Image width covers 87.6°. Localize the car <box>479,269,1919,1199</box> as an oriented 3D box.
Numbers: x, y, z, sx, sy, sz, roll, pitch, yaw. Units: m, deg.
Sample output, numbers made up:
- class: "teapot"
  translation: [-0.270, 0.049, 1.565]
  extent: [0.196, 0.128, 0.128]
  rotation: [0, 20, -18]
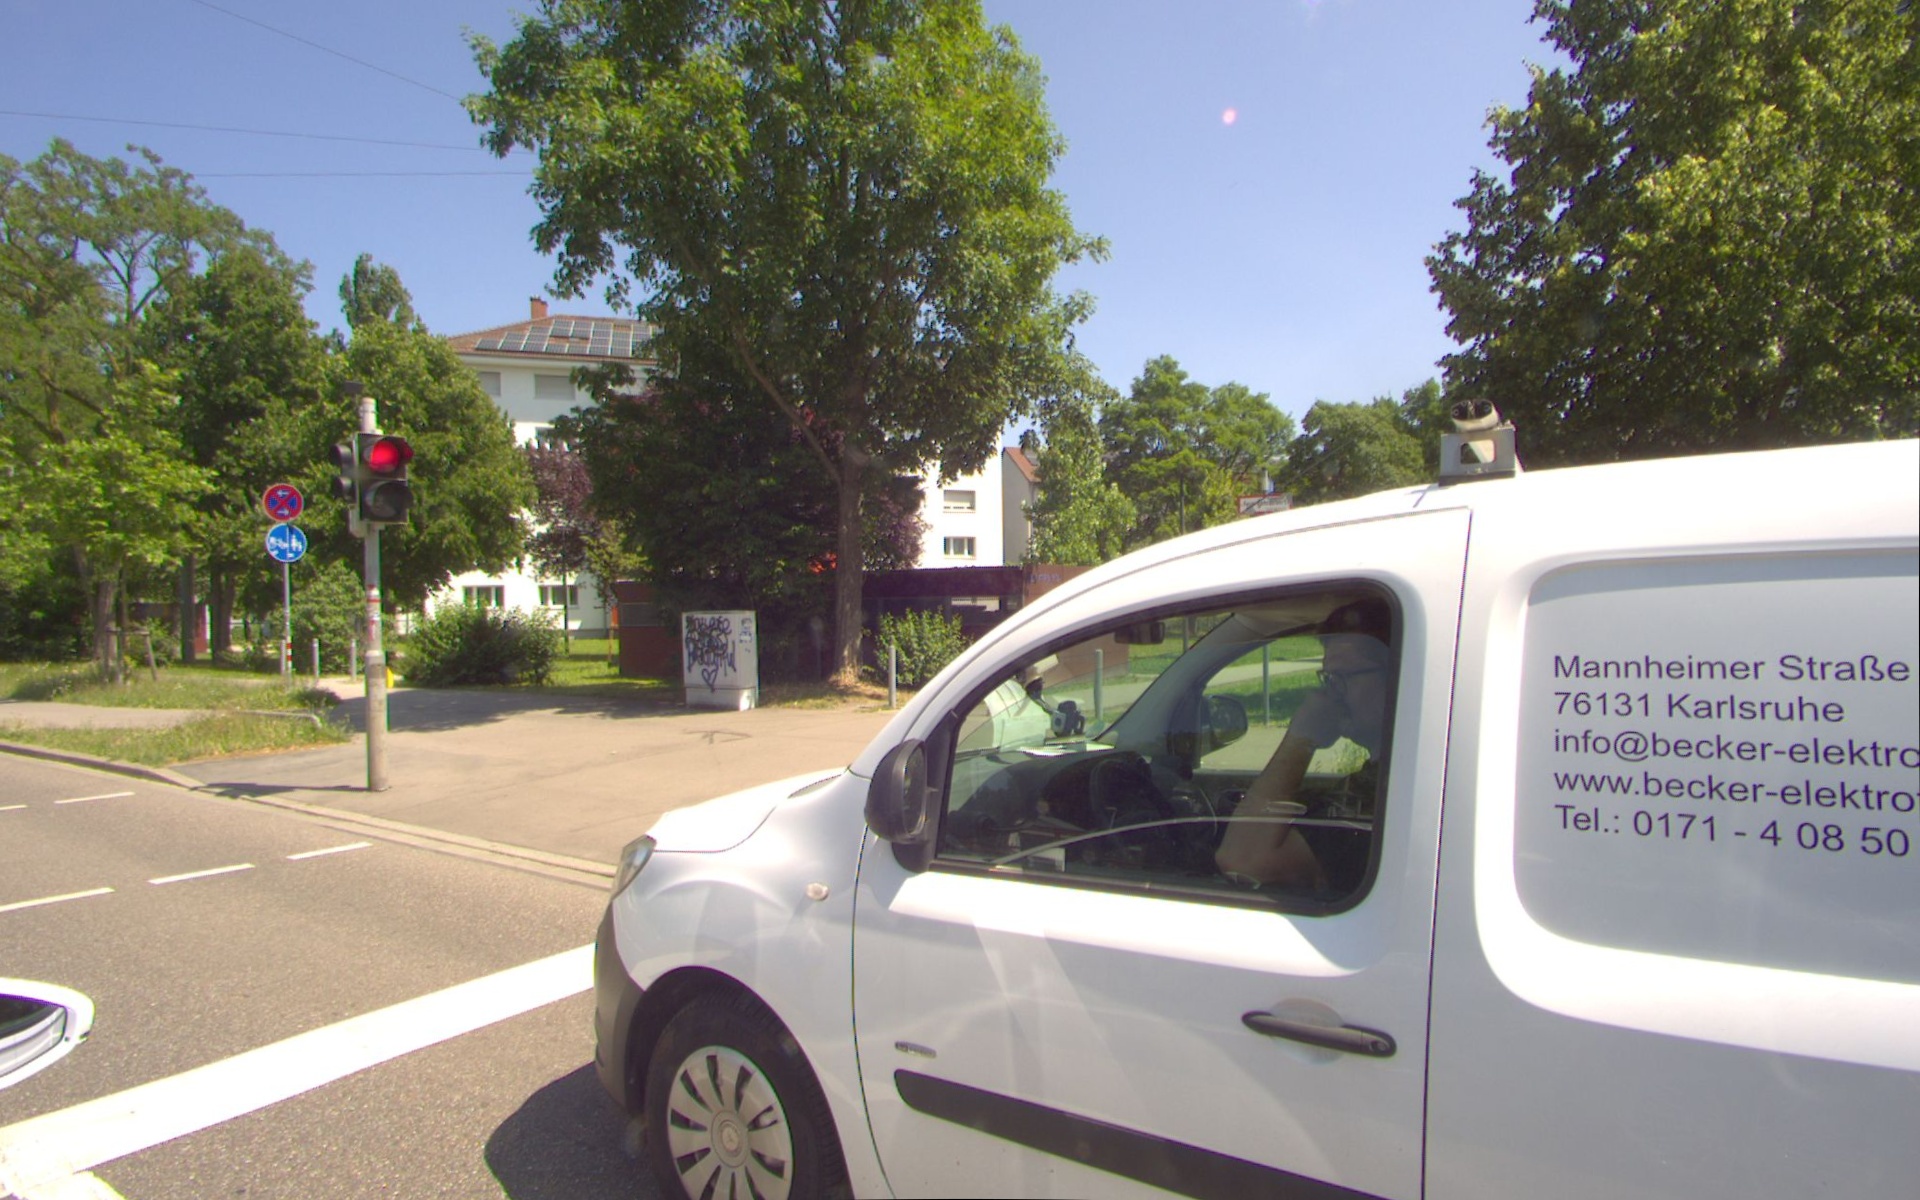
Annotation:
- class: "car"
  translation: [1.110, 0.566, 2.306]
  extent: [4.384, 1.850, 1.990]
  rotation: [-1, 0, 32]
